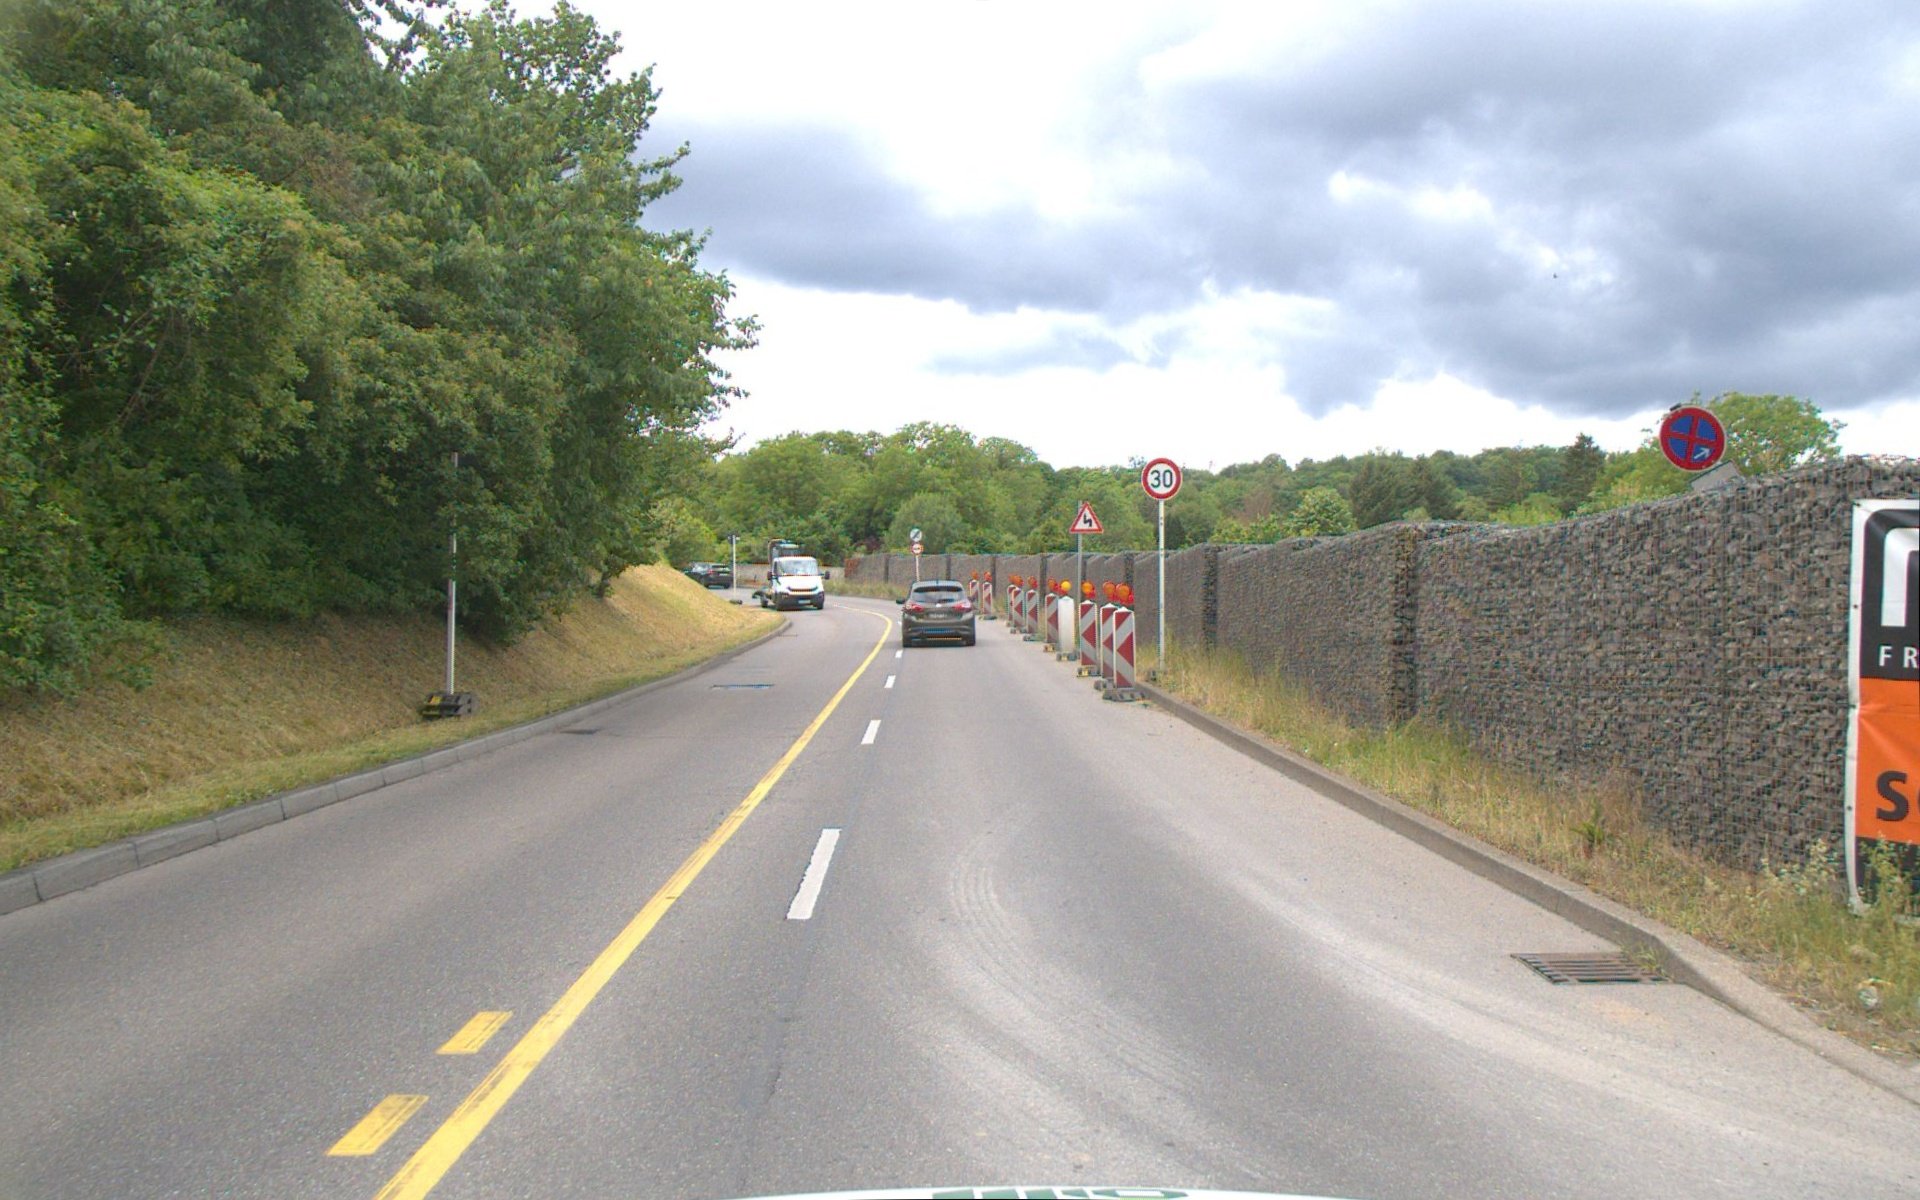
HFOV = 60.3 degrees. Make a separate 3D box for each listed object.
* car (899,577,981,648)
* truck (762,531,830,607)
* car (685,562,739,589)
[{"bbox_3d":[-0.546,0.266,40.417,1.803,1.509,3.998,-2,2,-3],"label":"car"},{"bbox_3d":[-7.161,-1.346,71.576,2.175,3.067,7.719,-1,1,-11],"label":"truck"},{"bbox_3d":[-14.565,-1.424,96.996,1.762,1.478,3.816,3,-2,-32],"label":"car"}]
